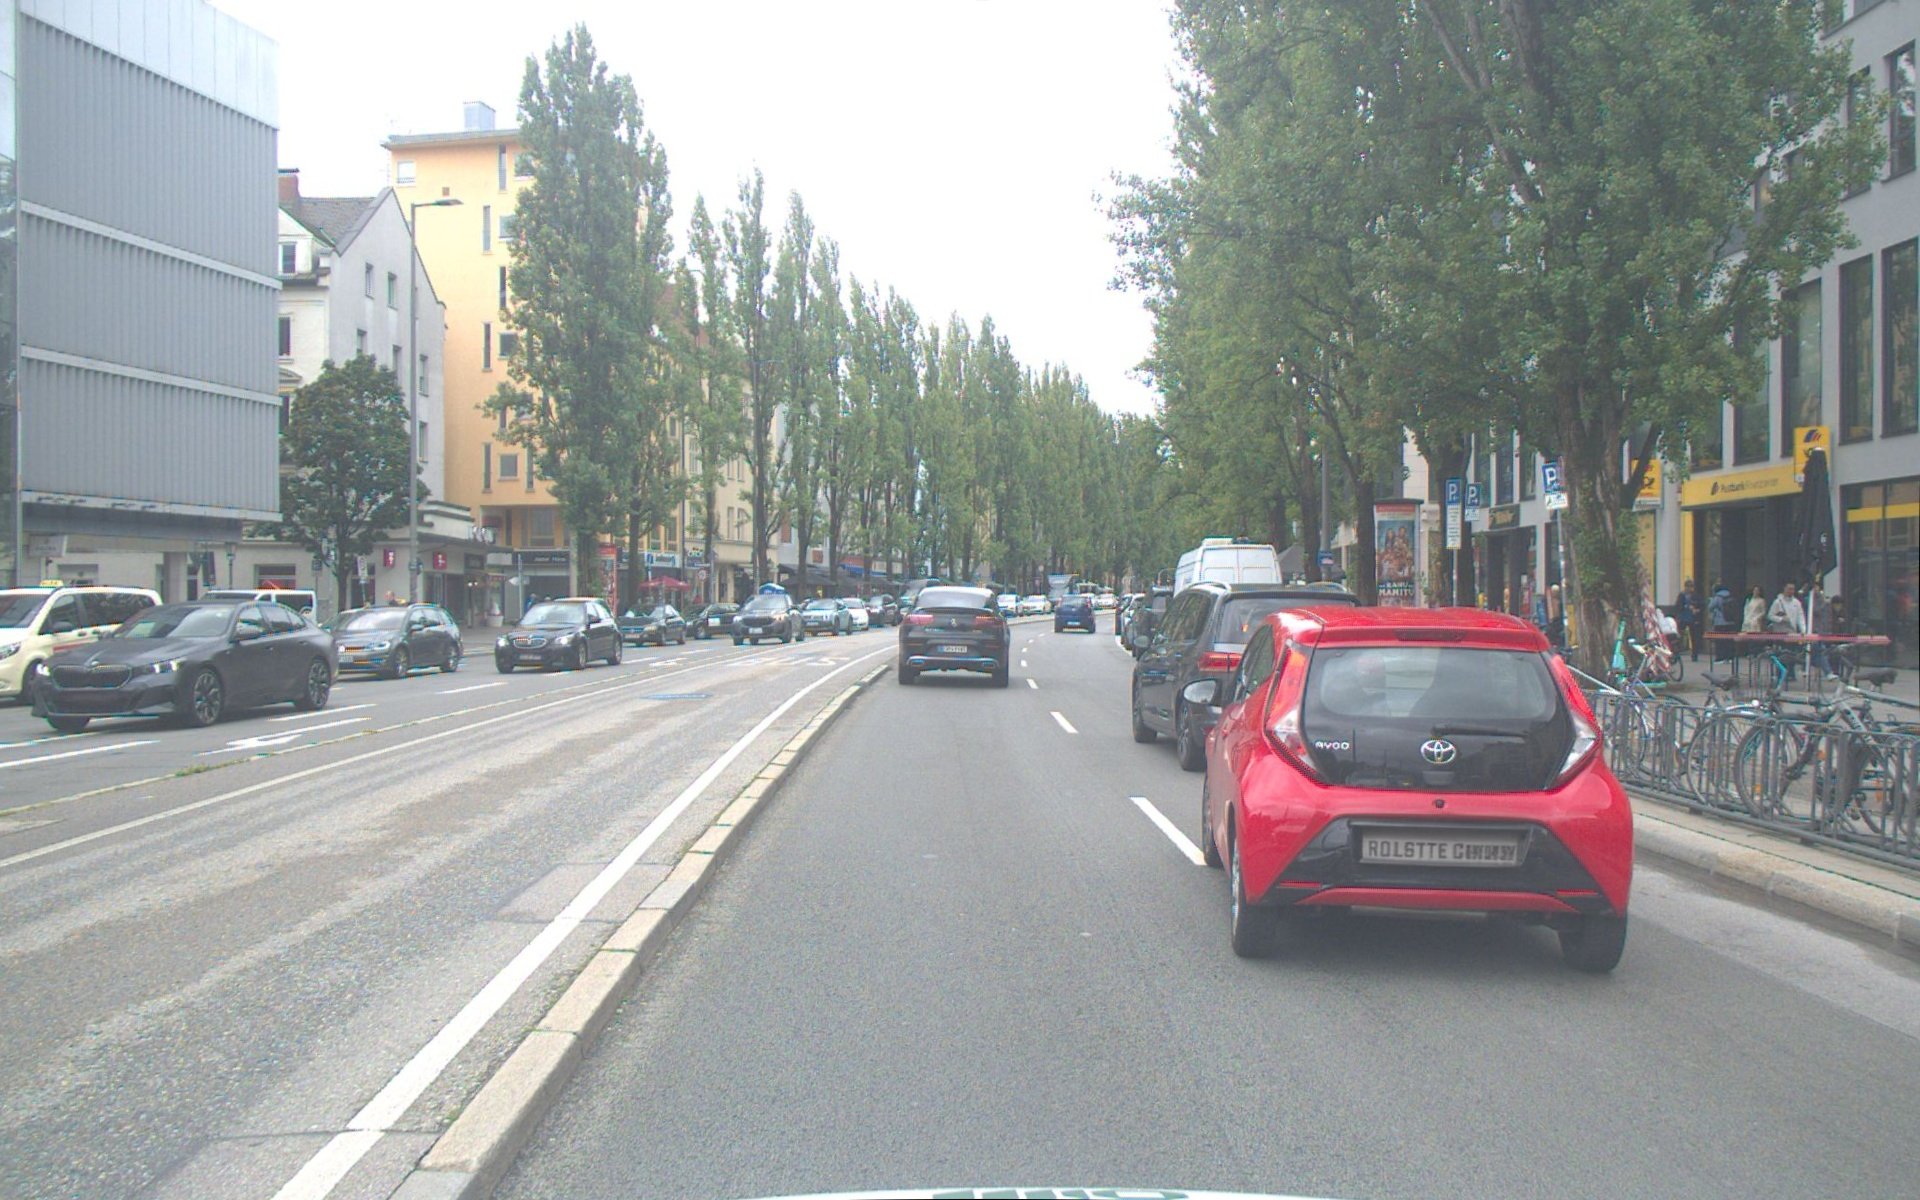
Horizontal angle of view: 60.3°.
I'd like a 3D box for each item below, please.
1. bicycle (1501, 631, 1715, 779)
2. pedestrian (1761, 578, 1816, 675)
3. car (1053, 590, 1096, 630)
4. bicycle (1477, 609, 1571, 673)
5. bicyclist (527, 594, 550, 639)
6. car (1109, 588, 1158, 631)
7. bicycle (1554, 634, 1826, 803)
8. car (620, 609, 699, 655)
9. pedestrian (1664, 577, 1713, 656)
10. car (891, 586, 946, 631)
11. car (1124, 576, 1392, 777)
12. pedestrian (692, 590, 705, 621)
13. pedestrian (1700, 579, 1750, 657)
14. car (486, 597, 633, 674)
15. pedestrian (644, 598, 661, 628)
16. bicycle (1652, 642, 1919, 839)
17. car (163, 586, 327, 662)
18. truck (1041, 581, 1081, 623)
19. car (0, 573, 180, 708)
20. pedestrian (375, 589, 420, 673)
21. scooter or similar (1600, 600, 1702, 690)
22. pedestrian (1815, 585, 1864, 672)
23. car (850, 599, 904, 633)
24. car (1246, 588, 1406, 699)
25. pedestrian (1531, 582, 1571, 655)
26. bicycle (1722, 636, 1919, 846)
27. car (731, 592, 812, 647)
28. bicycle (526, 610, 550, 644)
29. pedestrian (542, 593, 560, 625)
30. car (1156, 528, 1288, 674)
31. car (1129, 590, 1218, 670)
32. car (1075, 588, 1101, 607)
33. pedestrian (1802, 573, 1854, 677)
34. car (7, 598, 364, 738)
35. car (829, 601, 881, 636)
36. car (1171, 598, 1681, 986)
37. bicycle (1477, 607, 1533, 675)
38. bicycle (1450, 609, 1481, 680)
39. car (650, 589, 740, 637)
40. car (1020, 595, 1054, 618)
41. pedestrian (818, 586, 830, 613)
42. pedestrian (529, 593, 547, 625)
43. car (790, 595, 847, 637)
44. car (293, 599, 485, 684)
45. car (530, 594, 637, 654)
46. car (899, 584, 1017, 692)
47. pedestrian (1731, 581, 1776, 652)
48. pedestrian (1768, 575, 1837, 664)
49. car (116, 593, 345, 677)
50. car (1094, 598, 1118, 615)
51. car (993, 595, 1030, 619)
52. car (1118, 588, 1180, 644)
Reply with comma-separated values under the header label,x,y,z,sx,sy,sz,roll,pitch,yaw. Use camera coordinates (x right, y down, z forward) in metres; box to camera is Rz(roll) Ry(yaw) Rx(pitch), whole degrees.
label,x,y,z,sx,sy,sz,roll,pitch,yaw
bicycle,5.444,0.854,13.934,1.546,1.072,0.544,4,2,38
pedestrian,13.934,0.437,27.835,0.628,1.611,0.635,-1,0,7
car,4.947,0.436,70.987,1.722,1.648,3.749,1,0,5
bicycle,10.550,0.758,30.967,1.593,1.180,0.705,0,0,12
bicyclist,-15.281,0.594,59.947,0.491,1.620,0.835,-1,0,12
car,7.349,0.420,69.586,1.884,1.730,4.653,1,0,8
bicycle,5.525,0.862,12.571,1.767,1.072,0.544,4,2,38
car,-10.107,1.045,55.980,1.693,1.433,4.689,-1,0,2
pedestrian,15.744,0.343,35.770,0.677,1.678,0.798,-1,0,-1
car,-2.462,0.485,100.400,2.123,2.651,6.069,-1,0,11
car,2.656,0.625,15.683,1.725,1.642,4.183,0,0,-1
pedestrian,-14.841,0.310,93.920,0.527,1.777,0.756,0,0,12
pedestrian,15.949,0.369,34.496,0.677,1.612,0.772,-1,0,-1
car,-8.597,0.711,35.944,1.797,1.513,4.736,-1,0,3
pedestrian,-16.452,0.668,88.418,0.620,1.589,0.816,-1,0,13
bicycle,5.411,0.870,10.540,1.767,1.072,0.365,4,2,38
car,-20.569,0.647,47.849,1.951,2.049,5.116,-1,0,8
truck,8.496,0.112,138.695,2.242,3.381,7.163,-2,0,11
car,-15.445,0.646,27.820,1.952,2.049,5.323,-1,0,2
pedestrian,-12.955,0.711,38.098,0.779,1.900,0.837,-1,0,-34
scooter or similar,9.862,0.634,23.602,1.442,1.228,0.398,-1,0,-19
pedestrian,15.461,0.494,29.074,0.636,1.502,0.756,0,-1,37
car,-4.445,0.826,89.352,1.975,1.746,4.986,-1,0,8
car,5.437,0.594,25.018,1.689,1.479,4.149,2,0,3
pedestrian,14.302,0.448,40.041,0.707,1.754,0.737,-1,0,36
bicycle,5.564,0.842,9.815,1.767,1.124,0.544,4,2,38
car,-6.095,0.606,53.953,1.952,1.649,4.414,-2,0,2
bicycle,-15.299,0.981,59.987,0.360,1.222,1.155,-1,0,13
pedestrian,-19.070,0.428,77.156,0.619,1.460,0.778,-1,0,-2
car,5.428,0.043,34.908,1.952,2.789,5.555,1,-1,1
car,5.275,0.702,41.365,1.888,1.836,4.782,1,0,4
car,11.966,-0.231,154.437,1.820,1.741,4.540,-2,0,12
pedestrian,14.650,0.417,27.930,0.567,1.731,0.597,-1,0,7
car,-9.721,0.774,21.323,1.952,1.534,5.024,-1,0,4
car,-5.123,0.890,81.485,1.912,1.617,4.003,-1,0,6
car,2.038,0.756,8.228,1.630,1.471,3.597,1,0,2
bicycle,9.819,0.718,29.842,0.468,1.180,1.633,0,0,0
bicycle,8.915,0.764,29.212,0.467,1.180,1.826,0,0,15
car,-10.721,0.546,67.132,1.721,1.847,3.998,1,-1,24
car,5.875,0.491,126.088,1.951,1.616,5.200,-2,0,9
pedestrian,-9.514,-0.037,115.563,0.624,1.894,0.648,-1,0,12
pedestrian,-19.677,0.418,77.176,0.619,1.460,0.778,-1,0,-2
car,-5.824,0.644,68.532,1.779,1.572,4.001,-3,0,2
car,-11.674,0.791,34.222,1.918,1.573,4.950,-1,0,4
car,-10.955,0.661,48.384,1.952,1.628,4.291,-1,0,3
car,-0.035,0.589,28.352,1.842,1.670,4.582,-1,0,0
pedestrian,17.780,0.362,37.045,0.752,1.562,0.706,-1,0,39
pedestrian,16.051,0.367,31.529,0.783,1.665,1.023,-1,0,-1
car,-14.860,0.660,34.080,1.935,1.579,5.090,-1,0,8
car,14.947,0.611,169.279,1.898,1.671,4.467,-1,0,11
car,3.561,0.463,114.119,1.869,1.631,4.359,-1,0,11
car,6.025,0.483,53.195,1.691,1.716,4.410,0,0,3
